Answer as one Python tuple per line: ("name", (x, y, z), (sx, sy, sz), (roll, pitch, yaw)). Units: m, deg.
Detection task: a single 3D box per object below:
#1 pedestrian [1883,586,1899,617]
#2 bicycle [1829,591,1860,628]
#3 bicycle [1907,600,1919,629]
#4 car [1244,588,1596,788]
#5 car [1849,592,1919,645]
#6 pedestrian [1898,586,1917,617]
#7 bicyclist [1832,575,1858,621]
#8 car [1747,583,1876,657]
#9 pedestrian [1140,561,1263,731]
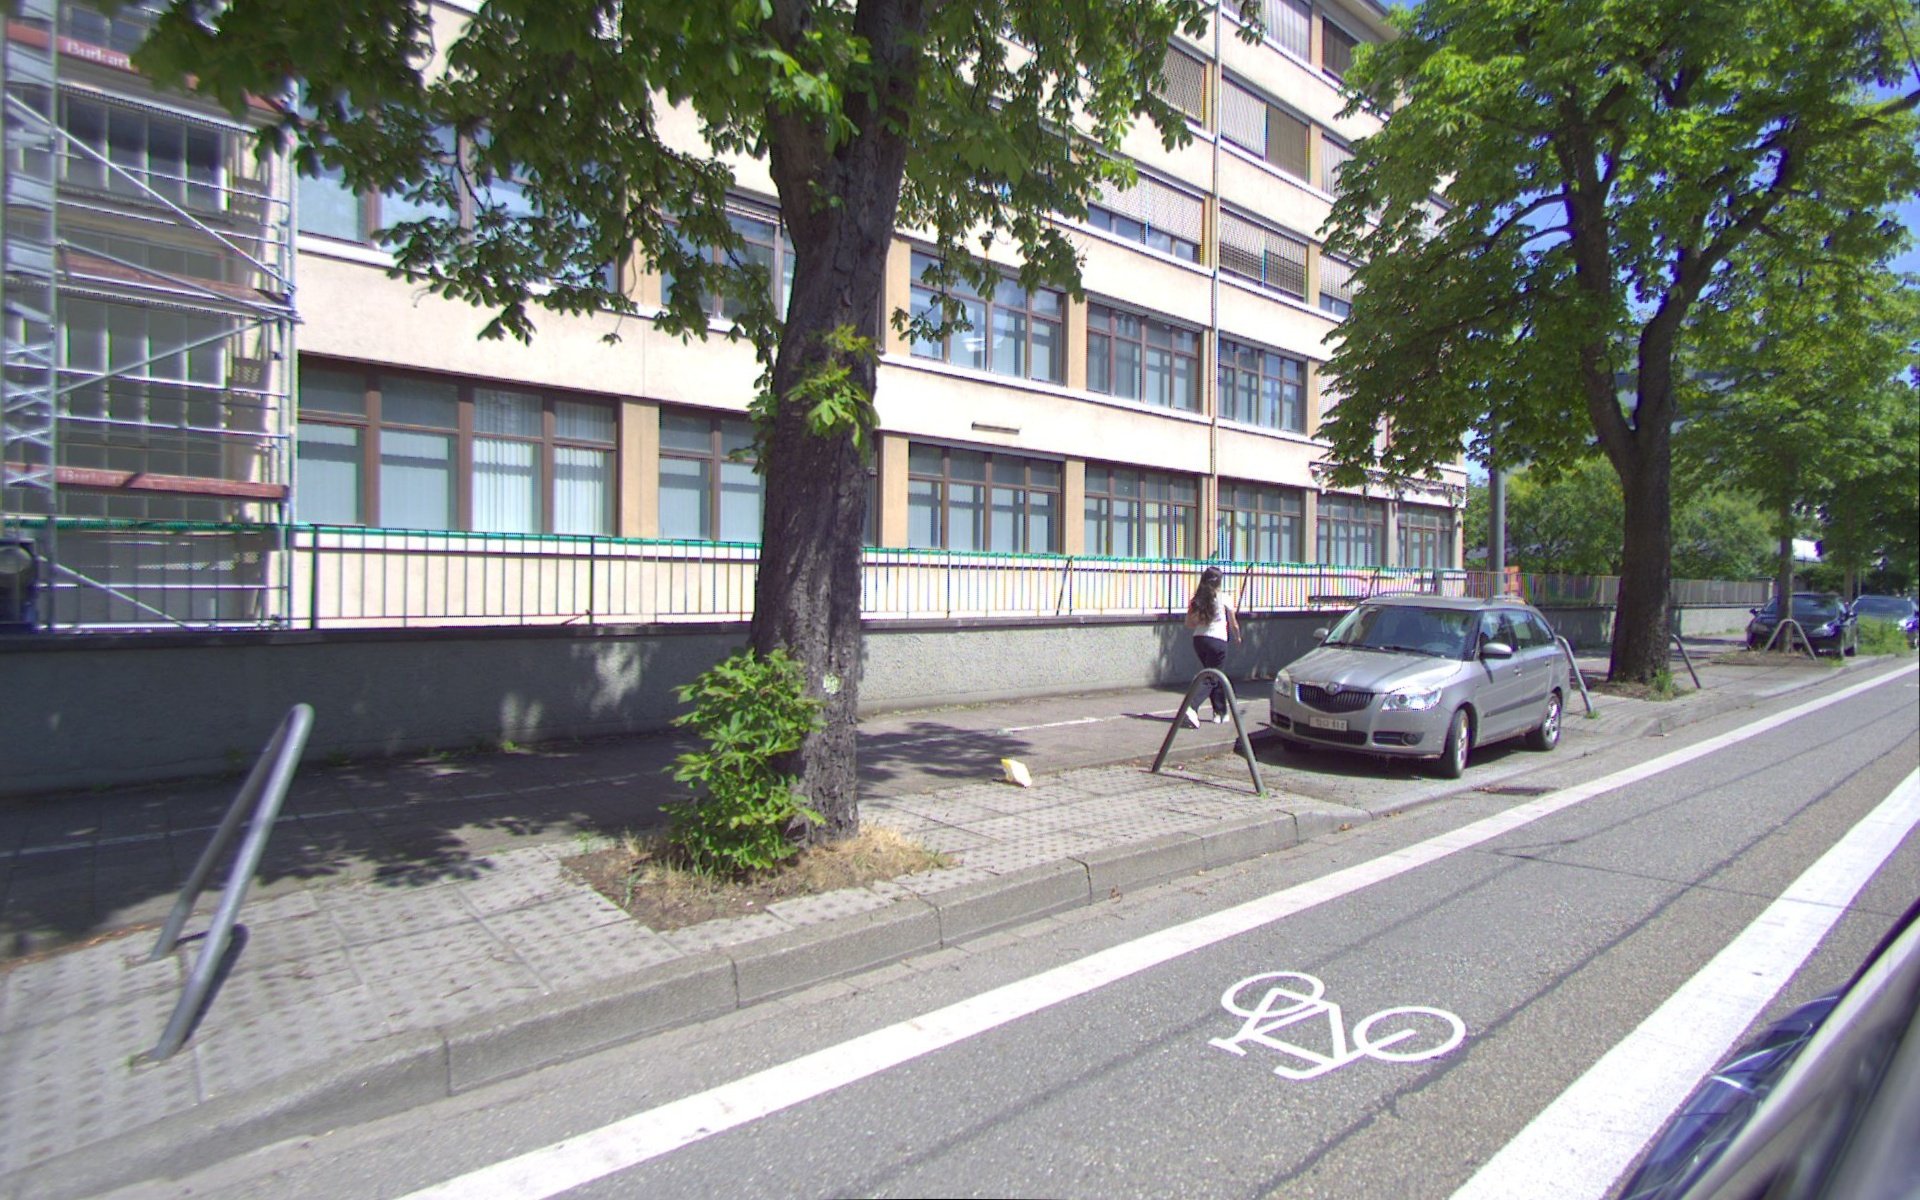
("pedestrian", (48.309, 0.061, 52.491), (0.535, 1.593, 0.514), (0, 2, -40))
("bicycle", (32.626, 0.341, 37.327), (1.743, 1.281, 0.556), (0, 3, -41))
("bicycle", (36.552, 0.566, 37.868), (0.552, 1.073, 1.588), (0, 1, -41))
("car", (4.629, 0.654, 9.855), (4.293, 1.518, 1.673), (0, 1, -44))
("car", (27.327, 0.477, 29.416), (4.667, 1.426, 1.674), (0, 1, -42))
("pedestrian", (48.701, 0.070, 52.017), (0.600, 1.593, 0.620), (0, 2, -40))
("bicyclist", (32.689, -0.069, 37.371), (0.589, 1.668, 0.582), (0, 2, -41))
("car", (19.116, 0.399, 22.661), (3.912, 1.508, 1.674), (0, 1, -42))
("pedestrian", (2.439, 0.427, 10.217), (0.903, 1.608, 0.801), (0, 2, -42))
